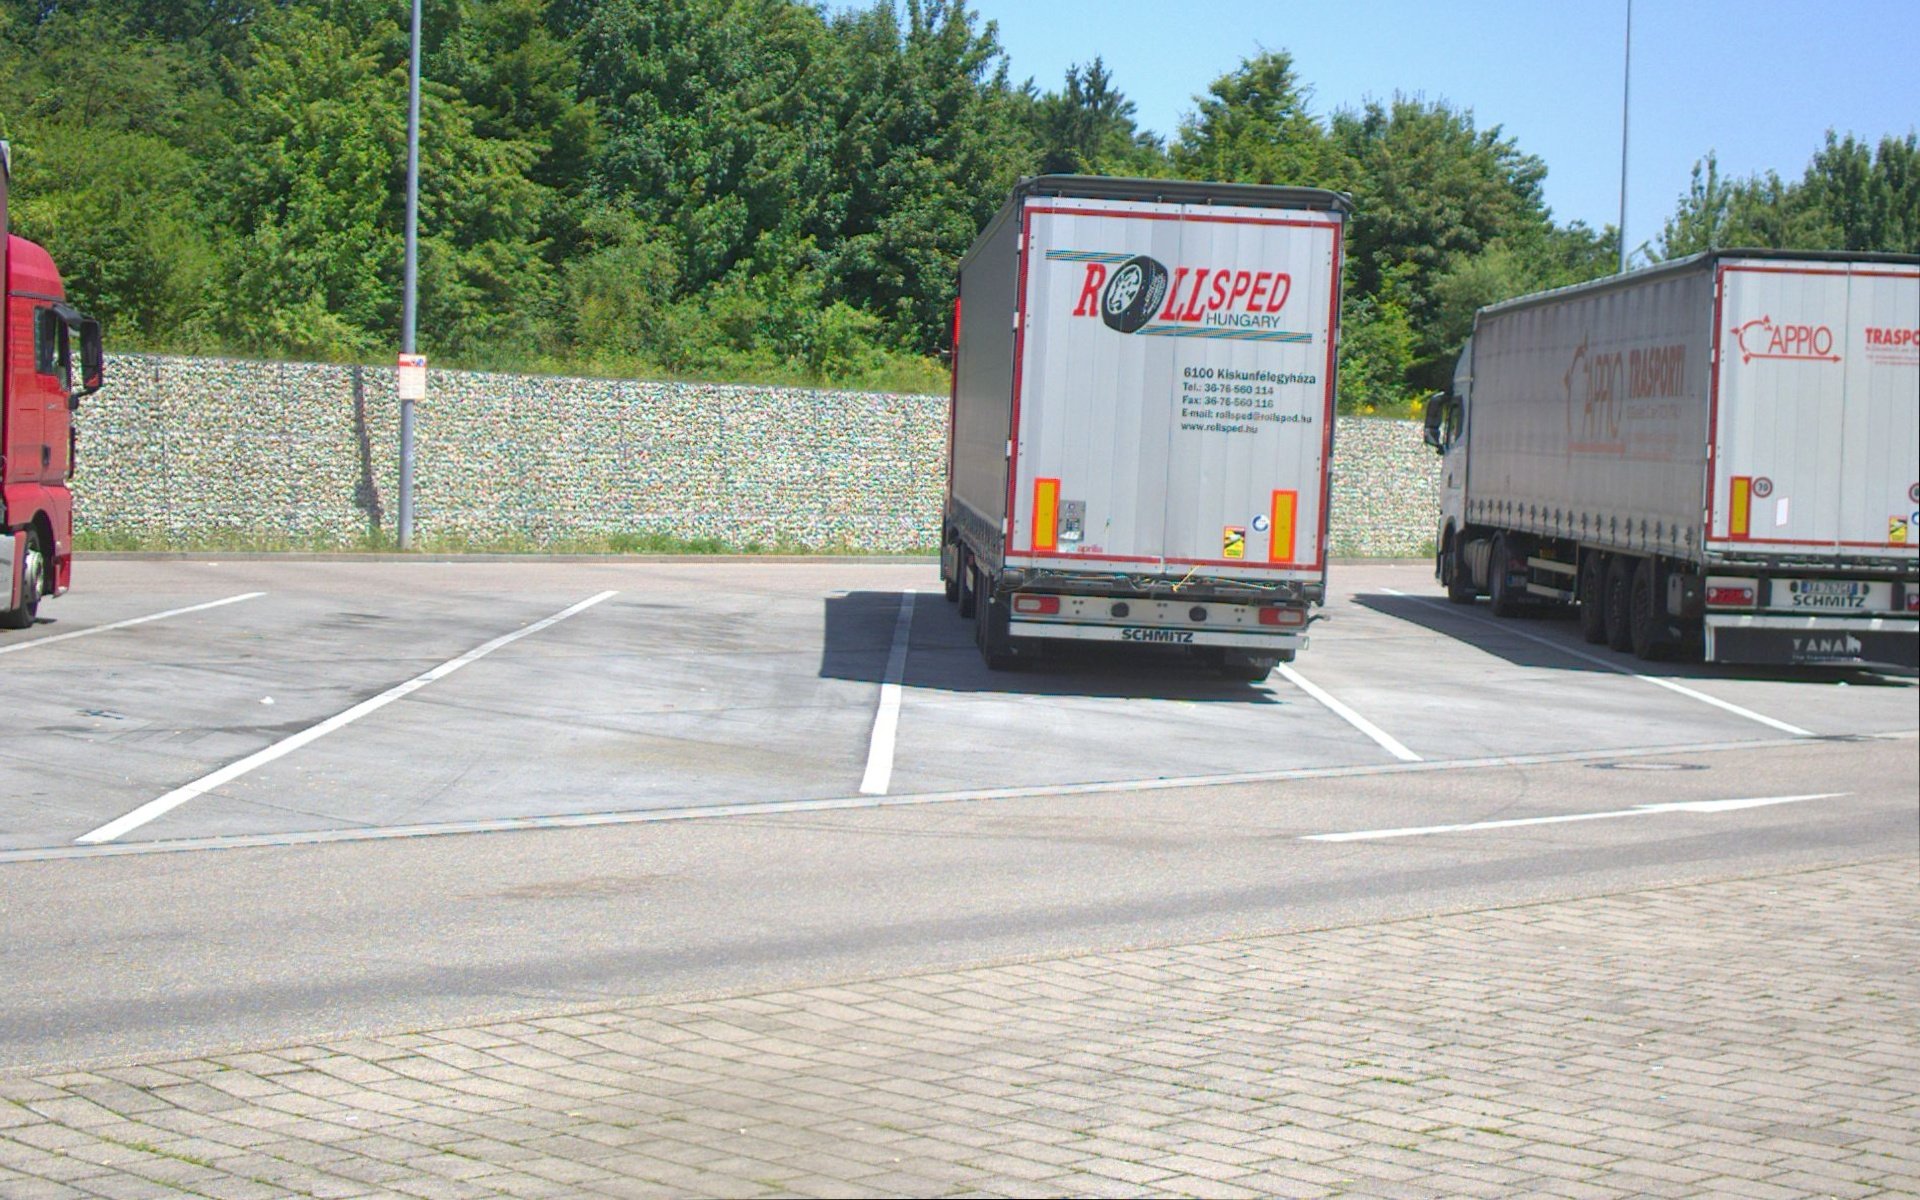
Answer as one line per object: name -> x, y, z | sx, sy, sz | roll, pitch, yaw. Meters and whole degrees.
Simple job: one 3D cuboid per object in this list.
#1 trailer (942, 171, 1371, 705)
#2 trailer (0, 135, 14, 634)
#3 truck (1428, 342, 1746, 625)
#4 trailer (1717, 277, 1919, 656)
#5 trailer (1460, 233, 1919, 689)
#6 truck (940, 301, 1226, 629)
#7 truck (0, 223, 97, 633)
trailer -> 1.463, -1.567, 33.108 | 2.858, 3.958, 13.765 | 2, 3, -1
trailer -> -9.161, -1.464, 21.367 | 2.821, 4.057, 13.765 | 2, 3, -1
truck -> 8.090, -1.568, 45.128 | 2.865, 3.351, 5.975 | 2, 3, -1
trailer -> 11.789, -1.505, 39.374 | 2.858, 4.095, 13.765 | 2, 3, -1
trailer -> 8.192, -1.589, 38.362 | 2.858, 4.095, 13.765 | 2, 3, -1
truck -> 1.279, -1.571, 39.310 | 2.865, 3.351, 5.975 | 2, 3, -1
truck -> -9.248, -1.453, 28.186 | 2.812, 3.351, 5.975 | 2, 3, -1
